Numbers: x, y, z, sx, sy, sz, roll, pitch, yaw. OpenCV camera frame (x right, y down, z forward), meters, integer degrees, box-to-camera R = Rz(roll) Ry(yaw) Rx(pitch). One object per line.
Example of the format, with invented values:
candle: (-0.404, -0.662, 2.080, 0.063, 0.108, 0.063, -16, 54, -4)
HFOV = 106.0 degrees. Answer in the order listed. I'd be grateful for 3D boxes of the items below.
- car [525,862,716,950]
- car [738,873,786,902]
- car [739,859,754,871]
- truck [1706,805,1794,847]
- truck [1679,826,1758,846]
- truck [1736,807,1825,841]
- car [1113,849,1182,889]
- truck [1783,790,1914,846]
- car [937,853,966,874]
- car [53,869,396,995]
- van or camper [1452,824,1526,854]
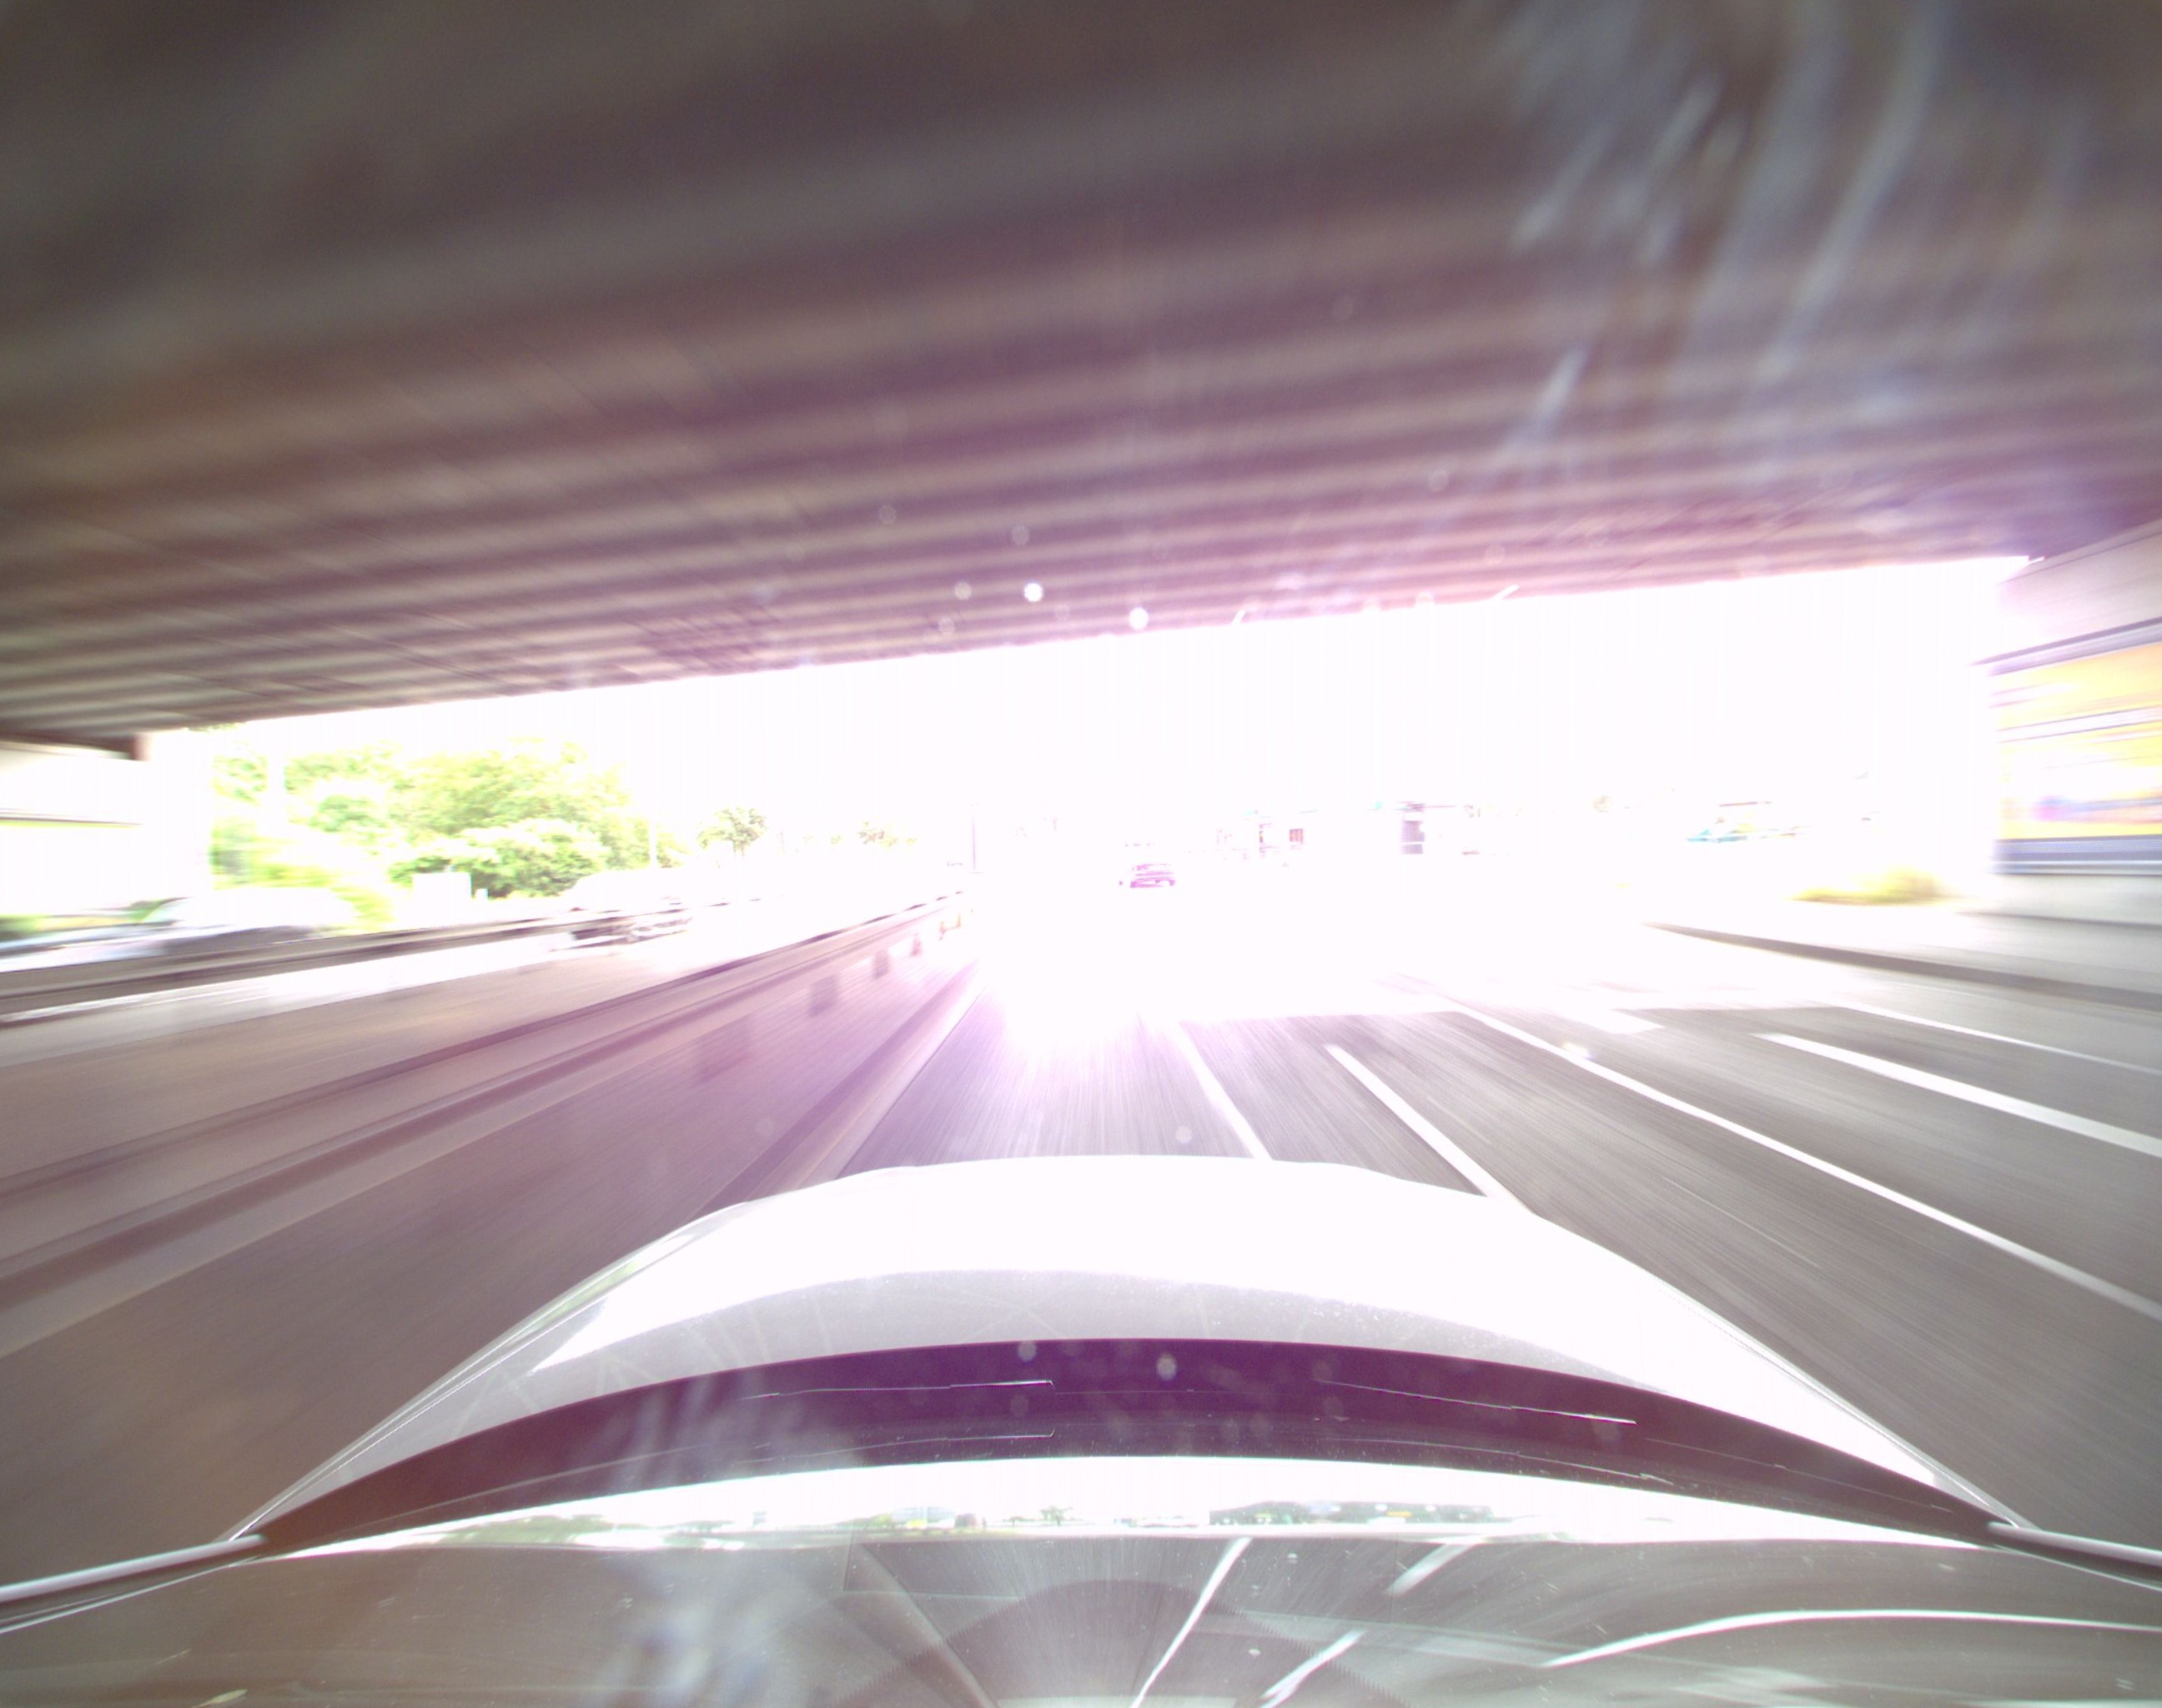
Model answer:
car: (-10.293, 1.073, 18.668, 1.989, 1.675, 4.319, -3, -1, -2)
car: (-19.845, 2.054, 50.830, 1.751, 1.510, 3.990, -3, 0, -7)
car: (-50.144, 1.691, 122.070, 2.002, 1.532, 4.298, -5, 0, -23)
truck: (46.418, -1.888, 56.582, 4.311, 2.714, 2.117, -1, -1, -1)
truck: (45.868, -1.291, 58.667, 4.314, 1.220, 1.878, -1, -1, -3)
truck: (46.351, -1.953, 54.034, 4.315, 2.084, 1.976, -1, -1, -4)
car: (2.477, 0.534, 31.354, 1.989, 1.390, 4.570, -1, 0, -3)
truck: (47.821, -2.215, 50.854, 5.905, 3.256, 2.706, -1, -1, -5)
car: (-14.047, 1.039, 87.931, 2.002, 2.037, 4.677, -3, -1, -22)
car: (-16.479, 1.374, 16.091, 1.985, 2.013, 4.340, -3, -1, 3)
van or camper: (31.207, -1.117, 62.152, 6.271, 2.173, 2.104, -1, -1, -33)
